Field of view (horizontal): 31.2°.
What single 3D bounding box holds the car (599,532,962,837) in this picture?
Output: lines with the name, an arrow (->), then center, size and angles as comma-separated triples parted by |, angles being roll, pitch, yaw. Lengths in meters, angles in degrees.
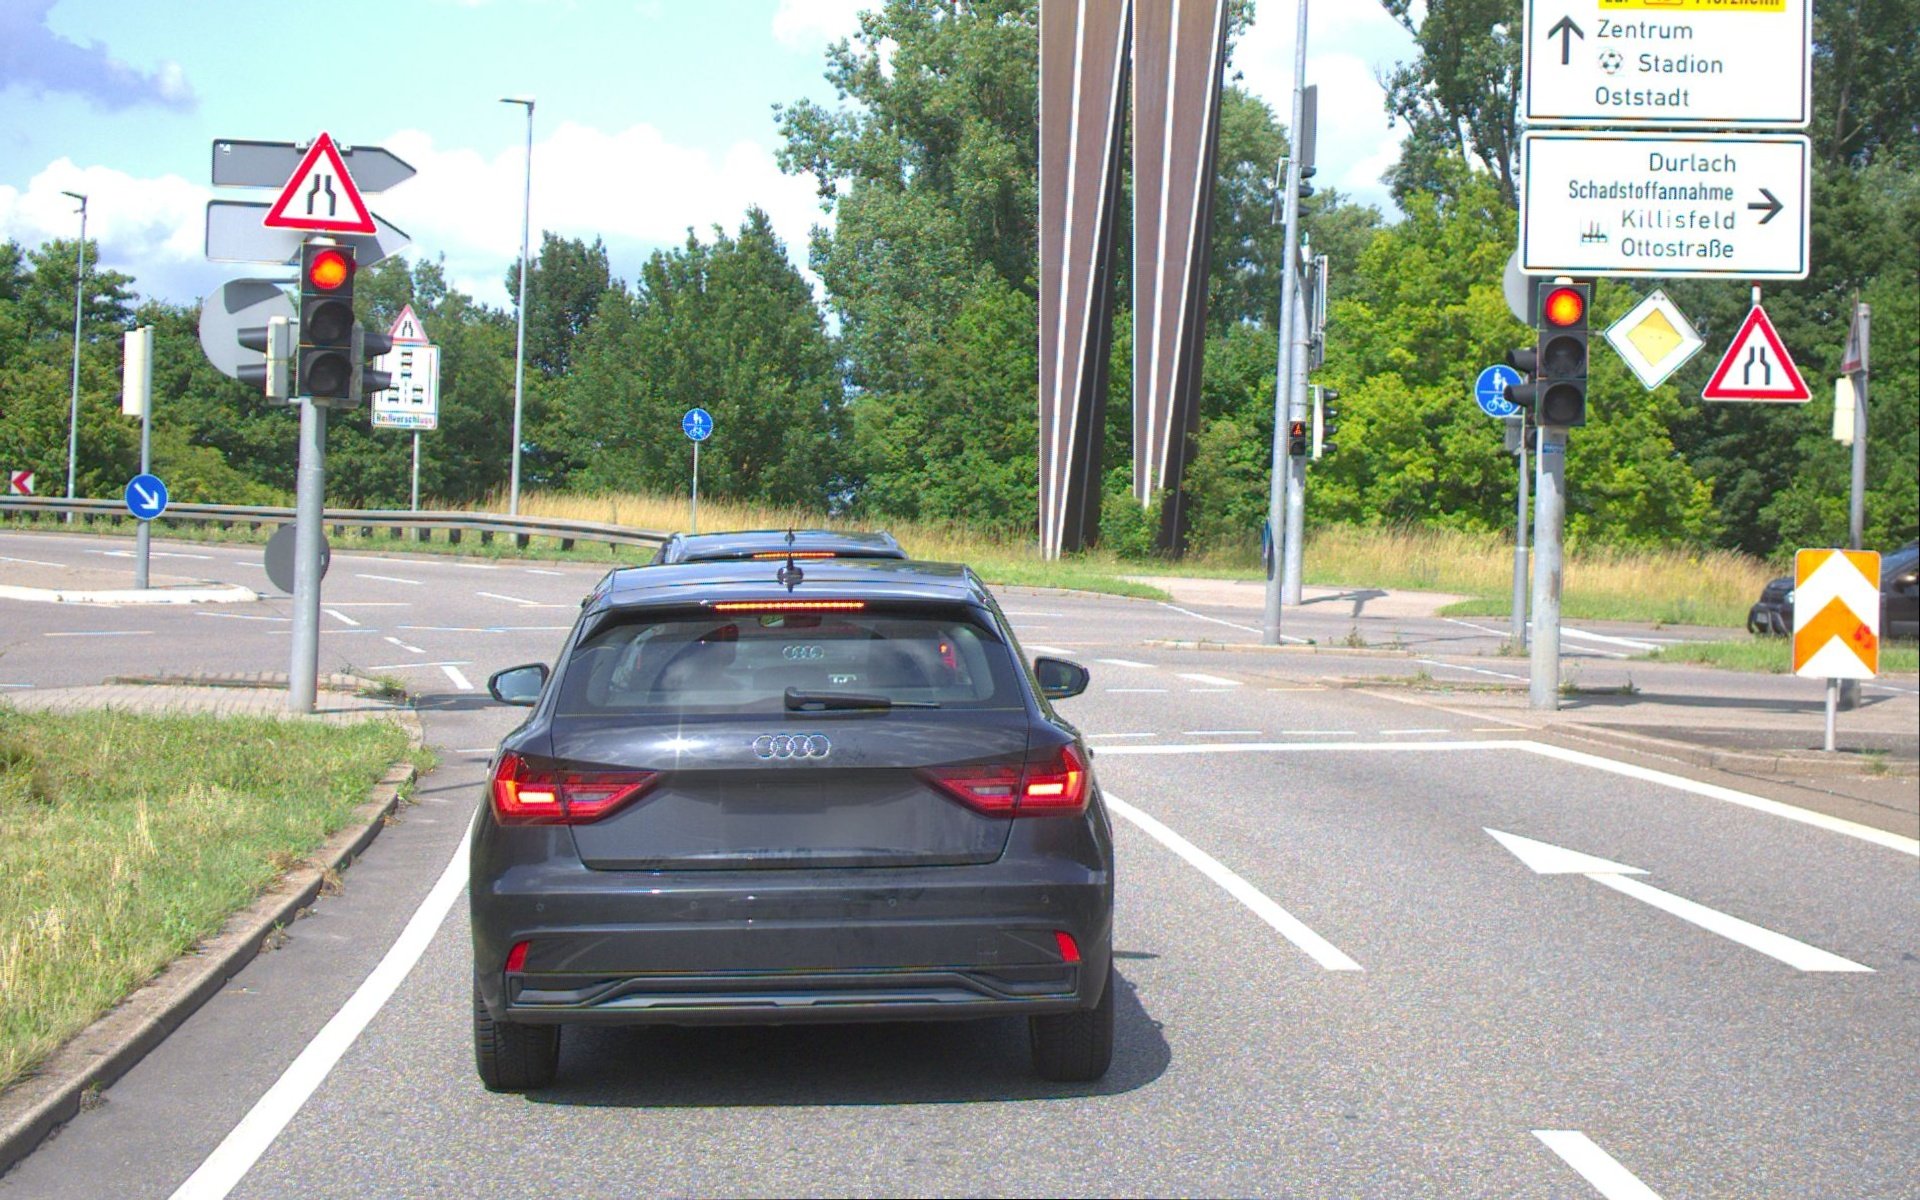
car -> -1.035, 0.363, 18.342 | 1.726, 1.418, 3.845 | 0, 2, -5

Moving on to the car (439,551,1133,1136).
car -> -0.485, 0.580, 10.585 | 1.726, 1.399, 4.001 | 0, 2, -2

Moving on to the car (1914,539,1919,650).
car -> 15.750, 0.005, 47.034 | 4.847, 1.539, 1.737 | 2, 1, -2

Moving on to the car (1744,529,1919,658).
car -> 12.194, -0.065, 43.072 | 4.268, 1.539, 1.737 | 2, 1, -2
